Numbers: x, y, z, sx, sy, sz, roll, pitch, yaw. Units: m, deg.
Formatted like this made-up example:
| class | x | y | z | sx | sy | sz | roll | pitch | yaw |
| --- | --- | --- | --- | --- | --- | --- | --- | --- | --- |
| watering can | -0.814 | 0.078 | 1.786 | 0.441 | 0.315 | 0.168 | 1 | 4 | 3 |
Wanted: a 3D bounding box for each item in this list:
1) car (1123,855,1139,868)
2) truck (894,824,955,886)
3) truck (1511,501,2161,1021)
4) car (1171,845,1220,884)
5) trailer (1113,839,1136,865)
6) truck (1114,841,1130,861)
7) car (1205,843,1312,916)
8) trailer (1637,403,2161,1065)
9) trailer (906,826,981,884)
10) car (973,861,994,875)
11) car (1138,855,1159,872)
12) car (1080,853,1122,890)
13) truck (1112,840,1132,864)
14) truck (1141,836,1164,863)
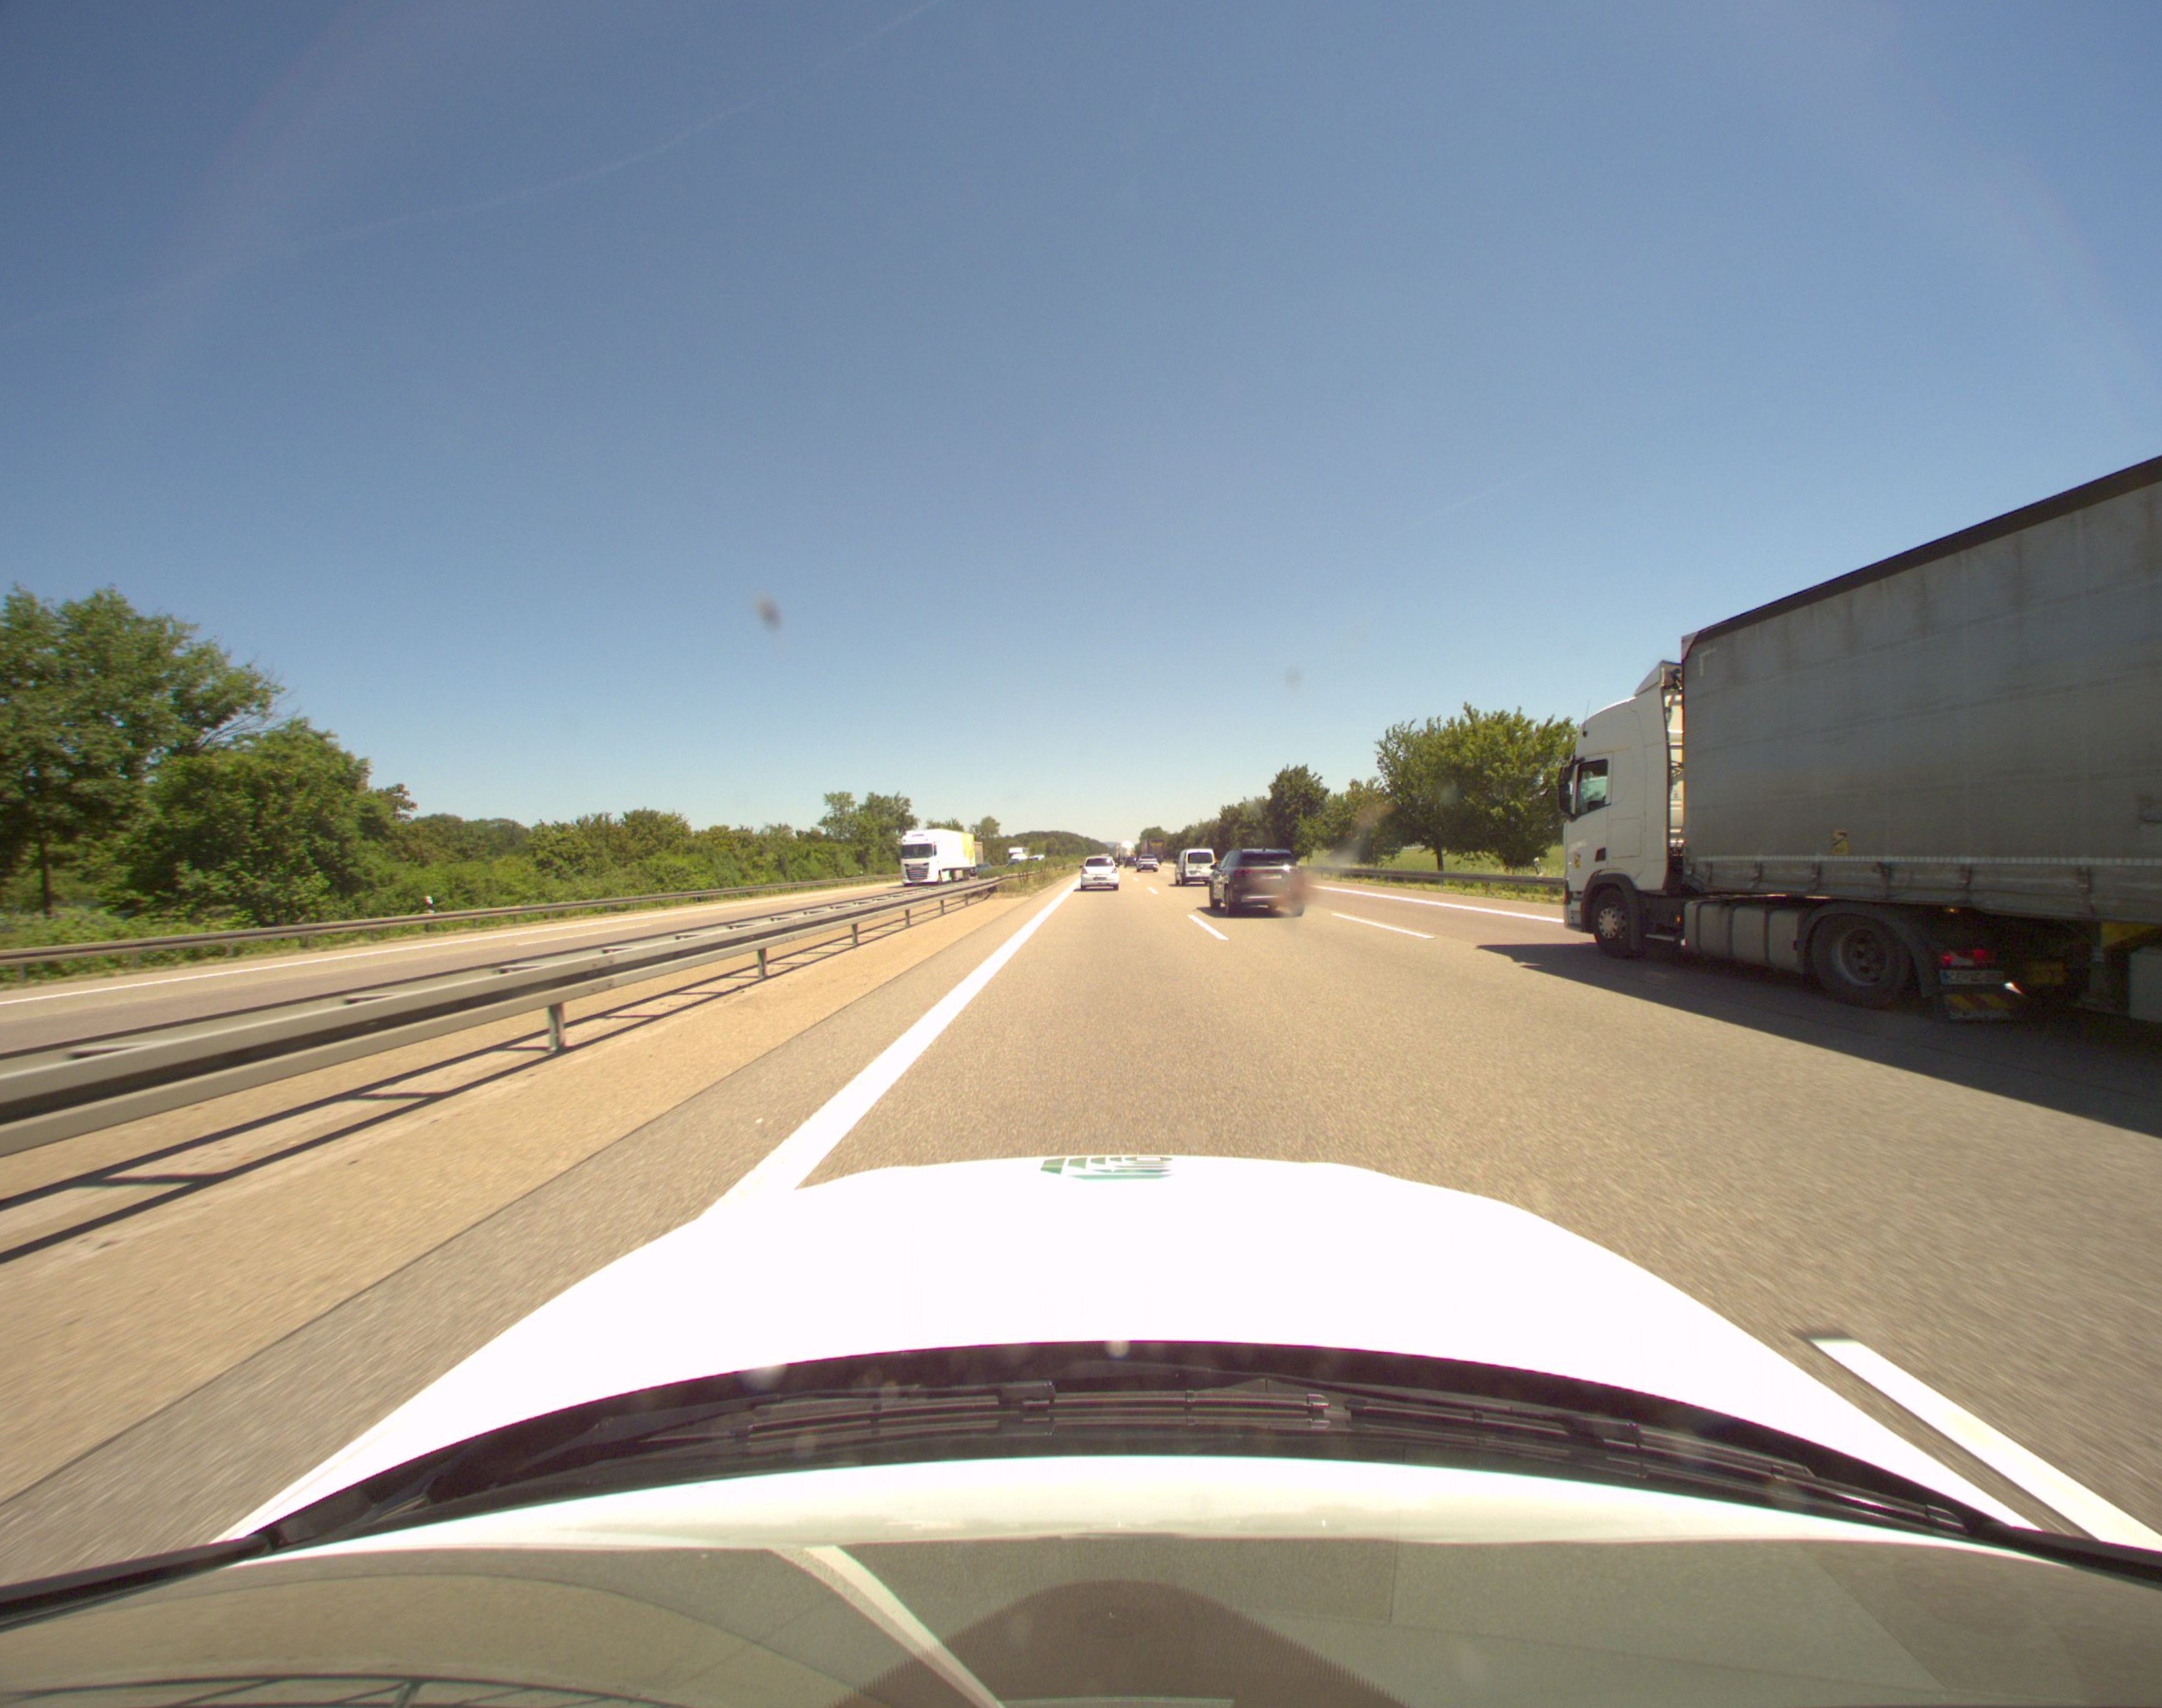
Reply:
| class | x | y | z | sx | sy | sz | roll | pitch | yaw |
| --- | --- | --- | --- | --- | --- | --- | --- | --- | --- |
| car | 6.200 | 0.903 | 101.627 | 1.843 | 1.523 | 3.958 | 0 | 0 | 2 |
| truck | -11.309 | 0.086 | 59.286 | 2.729 | 4.085 | 6.221 | -3 | 0 | 3 |
| truck | 8.648 | -0.760 | 10.340 | 2.799 | 4.304 | 7.197 | 0 | 0 | 2 |
| car | 5.741 | 0.520 | 41.181 | 1.847 | 1.863 | 4.702 | 0 | 0 | 0 |
| trailer | 7.170 | -0.272 | 136.309 | 2.903 | 4.069 | 12.409 | 0 | 0 | -2 |
| truck | 9.173 | -0.679 | 182.676 | 3.381 | 4.214 | 12.090 | 0 | 0 | 3 |
| car | 4.497 | 0.600 | 21.328 | 1.860 | 1.675 | 4.747 | 0 | 0 | 1 |
| trailer | 8.348 | -0.792 | 3.429 | 2.799 | 4.304 | 14.262 | 0 | 0 | 2 |
| trailer | -10.929 | 0.098 | 66.581 | 2.729 | 4.085 | 14.357 | -3 | 0 | 3 |
| car | -10.366 | 1.488 | 86.591 | 1.566 | 1.386 | 3.968 | -4 | -1 | 1 |
| car | 6.276 | 0.872 | 76.213 | 1.795 | 1.603 | 4.382 | 0 | 0 | 2 |
| car | 0.902 | 0.762 | 36.891 | 1.793 | 1.552 | 3.610 | 0 | 0 | 1 |
| truck | 7.049 | -0.310 | 140.700 | 2.904 | 4.079 | 7.190 | 0 | 0 | -2 |
| truck | 11.480 | -0.652 | 131.799 | 3.096 | 4.139 | 15.520 | 0 | 0 | 3 |
